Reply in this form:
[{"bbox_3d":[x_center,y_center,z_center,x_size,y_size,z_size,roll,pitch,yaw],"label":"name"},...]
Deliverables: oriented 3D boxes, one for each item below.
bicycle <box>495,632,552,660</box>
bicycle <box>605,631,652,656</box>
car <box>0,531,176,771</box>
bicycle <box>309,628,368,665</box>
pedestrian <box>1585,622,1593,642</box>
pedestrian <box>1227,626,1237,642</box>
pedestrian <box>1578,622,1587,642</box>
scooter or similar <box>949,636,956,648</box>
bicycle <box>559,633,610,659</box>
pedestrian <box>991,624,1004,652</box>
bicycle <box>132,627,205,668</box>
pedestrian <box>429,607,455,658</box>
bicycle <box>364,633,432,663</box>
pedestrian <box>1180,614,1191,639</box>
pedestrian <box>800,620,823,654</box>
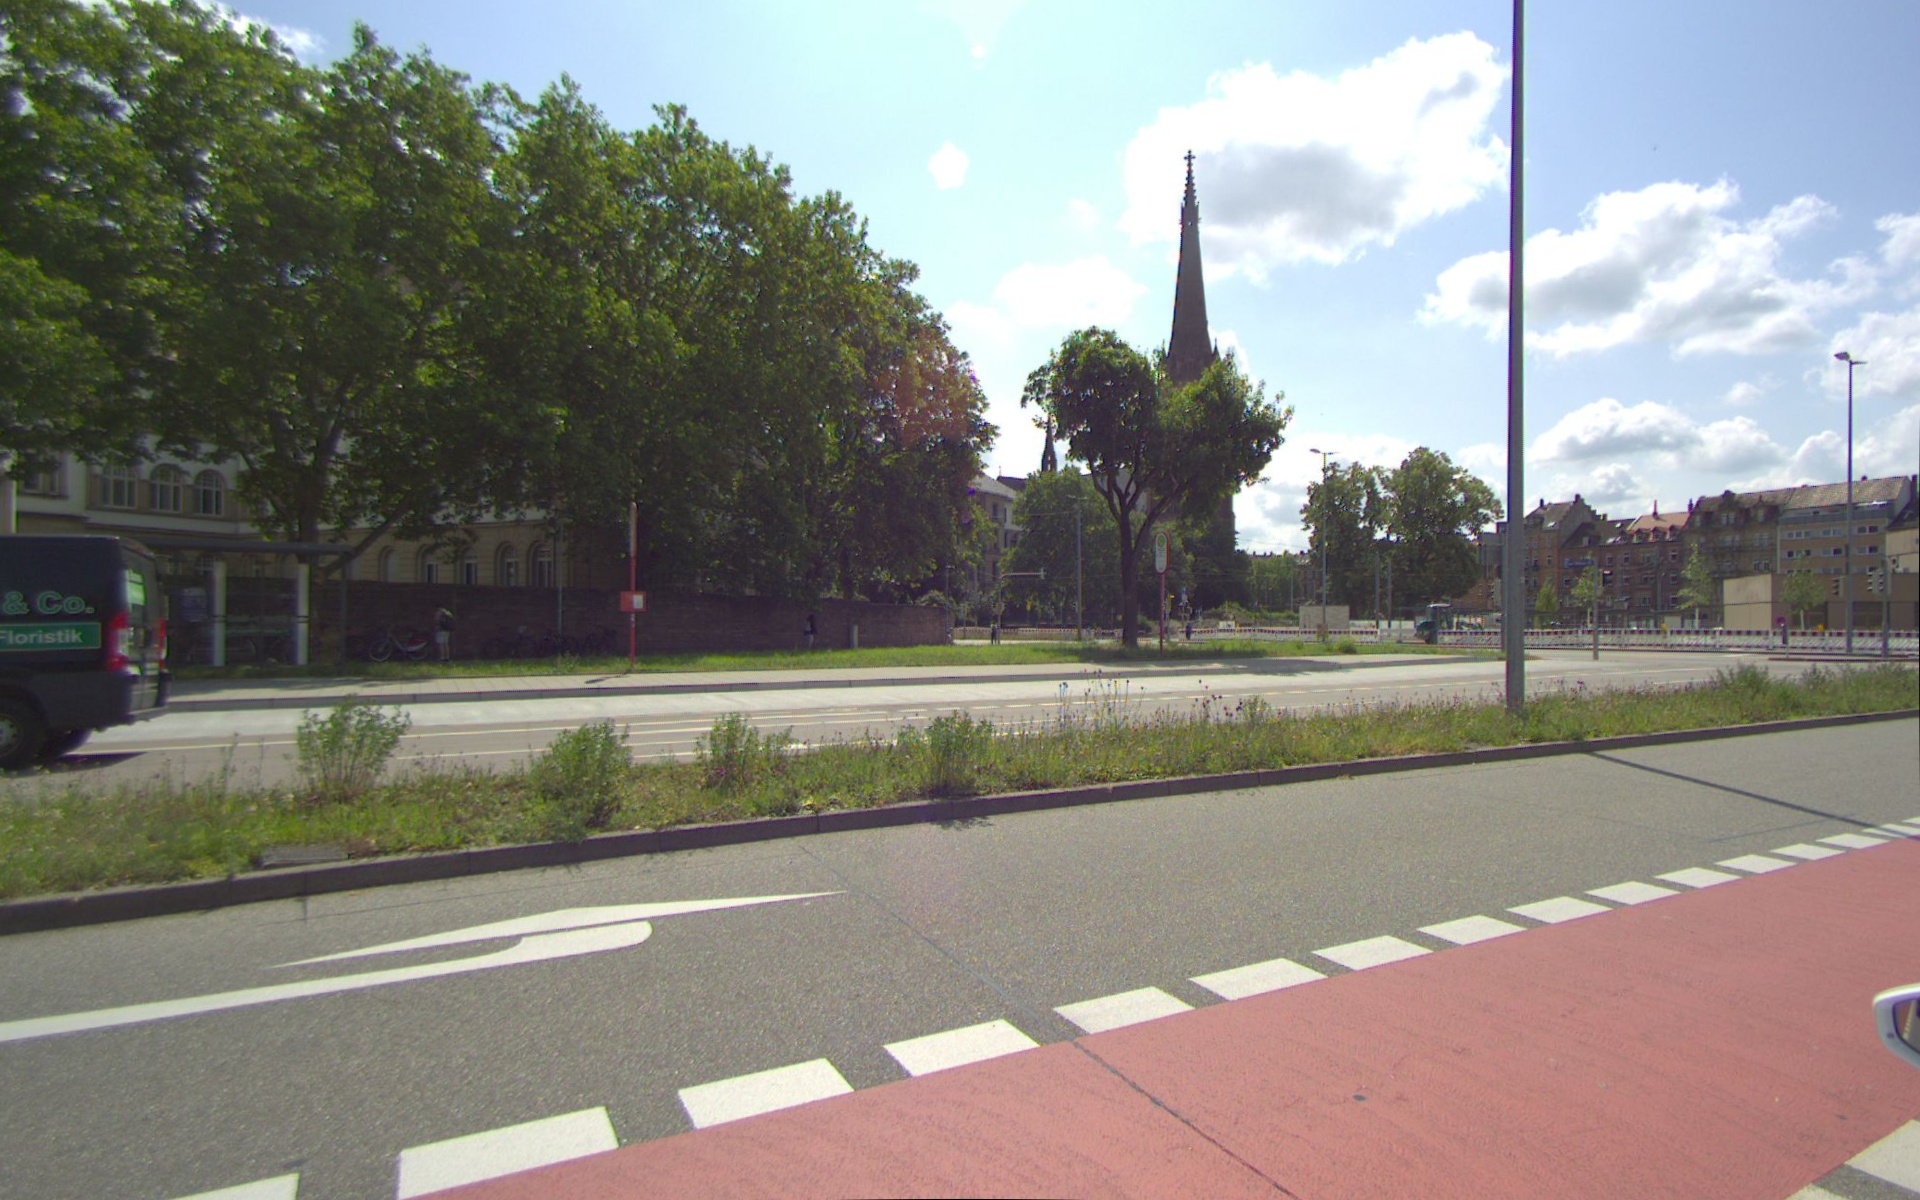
[{"bbox_3d":[-13.978,1.461,32.188,0.378,0.828,1.743,0,-1,36],"label":"bicycle"},{"bbox_3d":[-11.762,1.530,35.692,0.324,0.828,1.743,0,-1,36],"label":"bicycle"},{"bbox_3d":[-10.635,0.497,9.351,4.960,2.204,2.138,1,-3,-30],"label":"car"},{"bbox_3d":[-17.147,1.265,27.727,0.260,0.977,1.391,0,-1,36],"label":"bicycle"},{"bbox_3d":[53.025,2.682,84.660,0.409,1.674,0.425,2,0,4],"label":"pedestrian"},{"bbox_3d":[28.223,3.502,104.320,0.842,1.685,0.751,0,-1,29],"label":"pedestrian"},{"bbox_3d":[52.897,2.681,85.356,0.409,1.674,0.425,2,0,4],"label":"pedestrian"},{"bbox_3d":[-0.423,2.472,58.993,0.117,0.721,1.005,0,-1,17],"label":"scooter or similar"},{"bbox_3d":[-12.767,1.550,34.165,0.324,0.828,1.743,0,-1,36],"label":"bicycle"},{"bbox_3d":[2.806,2.828,74.738,0.713,2.040,0.721,1,-1,-32],"label":"pedestrian"},{"bbox_3d":[-19.405,1.157,24.656,0.260,0.977,1.391,0,-1,36],"label":"bicycle"},{"bbox_3d":[-15.141,0.943,29.375,0.627,1.492,0.506,1,-1,-32],"label":"pedestrian"},{"bbox_3d":[-16.227,1.379,29.024,0.324,0.828,1.743,0,-1,36],"label":"bicycle"},{"bbox_3d":[18.493,2.204,82.334,0.625,2.040,0.643,1,-1,-32],"label":"pedestrian"},{"bbox_3d":[-6.193,1.539,41.863,0.720,1.413,0.714,1,-1,-35],"label":"pedestrian"}]
